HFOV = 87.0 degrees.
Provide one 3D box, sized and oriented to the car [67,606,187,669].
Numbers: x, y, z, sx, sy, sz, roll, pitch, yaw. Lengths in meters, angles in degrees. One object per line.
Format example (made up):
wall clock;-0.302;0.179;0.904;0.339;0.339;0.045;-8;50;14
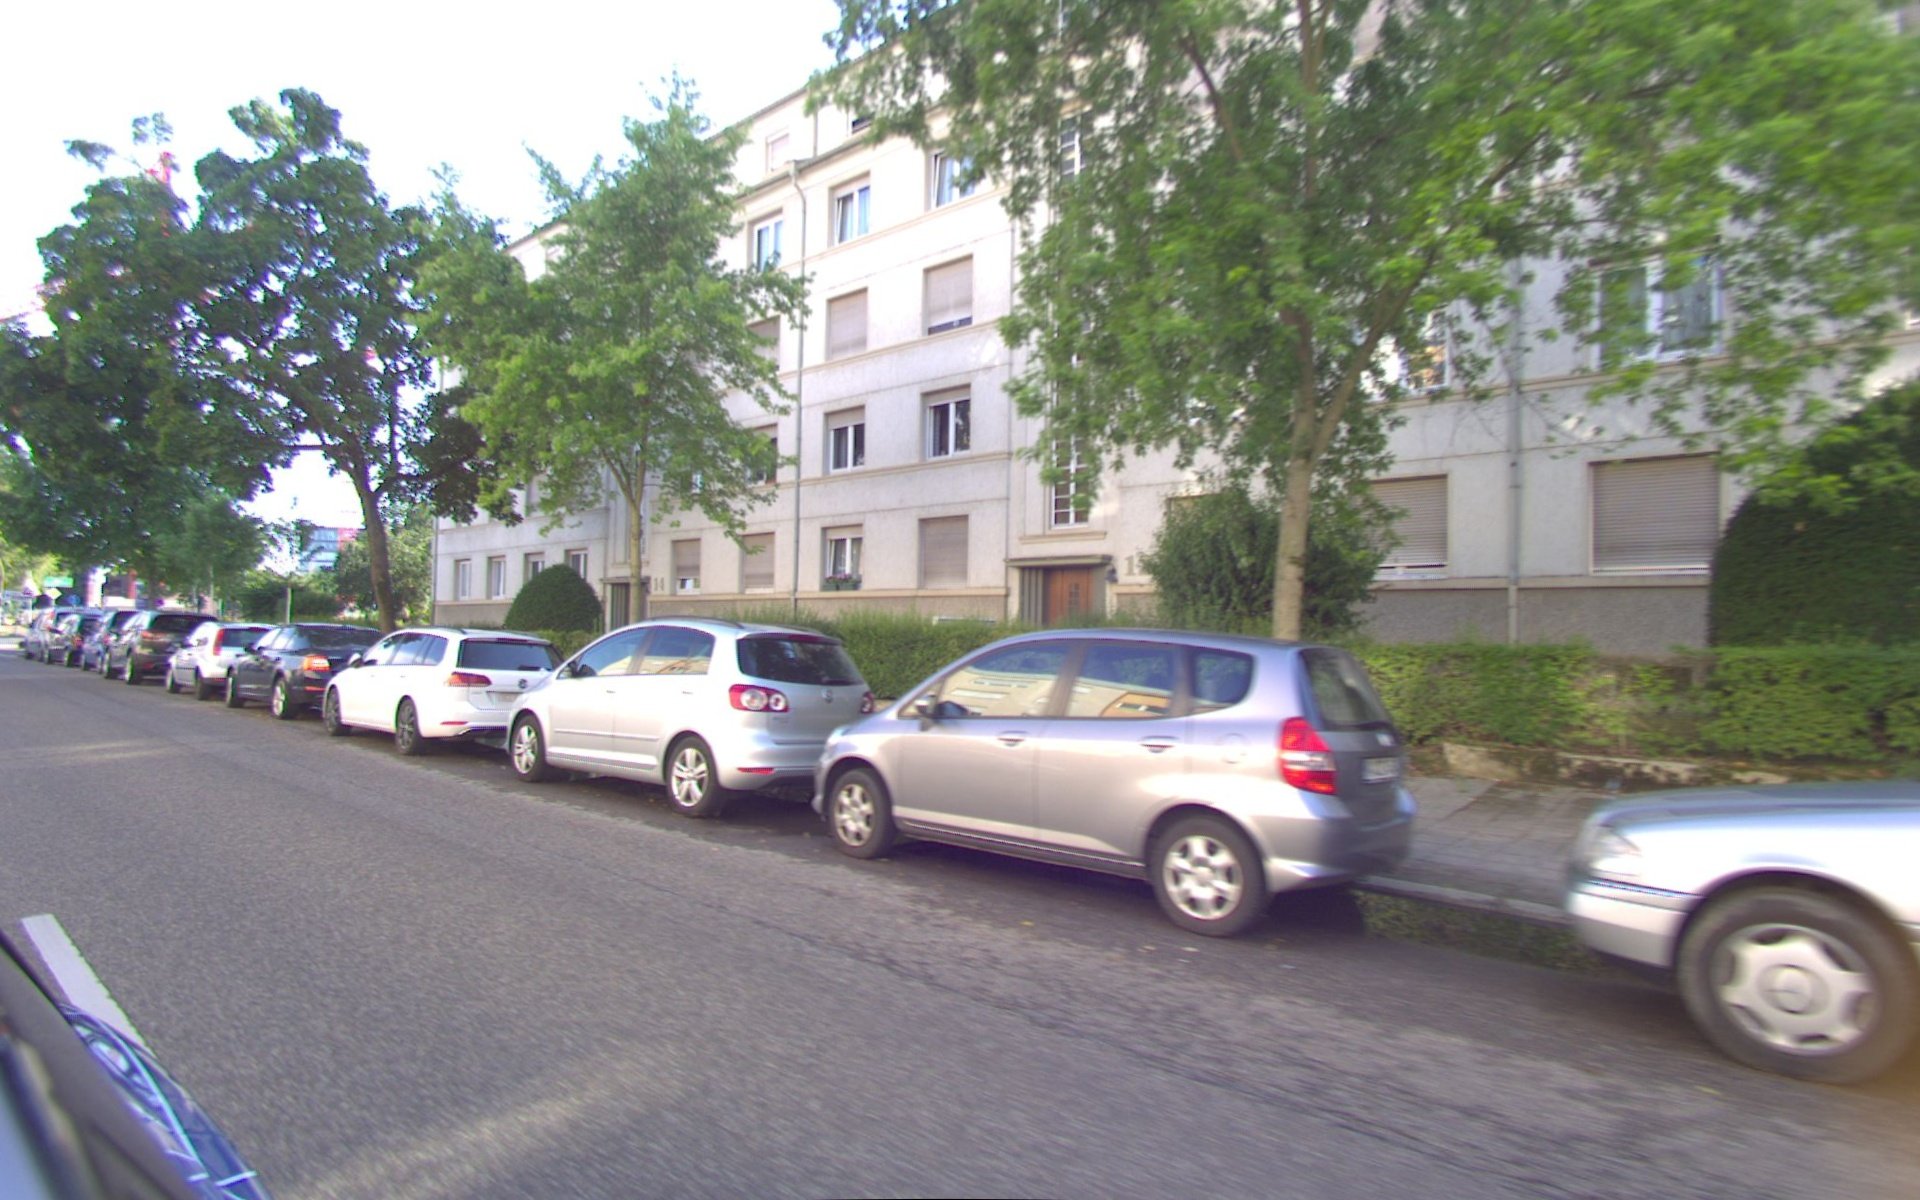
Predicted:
car;-22.858;0.959;27.721;3.997;1.563;1.854;0;0;40

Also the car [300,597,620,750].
car;-6.369;0.752;12.670;4.468;1.563;1.984;0;0;40

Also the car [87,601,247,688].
car;-18.515;1.000;23.555;4.685;1.772;1.855;0;-5;40

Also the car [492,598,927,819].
car;-2.404;0.788;9.241;3.997;1.564;1.854;0;-1;40

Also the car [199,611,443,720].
car;-10.387;1.000;16.294;4.800;1.445;1.854;0;-4;40

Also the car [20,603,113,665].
car;-30.112;1.115;34.049;4.487;1.911;1.821;0;-2;43

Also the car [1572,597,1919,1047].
car;4.593;0.685;2.907;4.650;1.365;1.854;0;0;40

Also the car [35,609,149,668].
car;-26.207;1.141;30.534;3.996;1.564;1.854;0;-5;40

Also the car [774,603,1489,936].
car;0.859;0.718;6.260;3.997;1.365;1.854;0;0;40

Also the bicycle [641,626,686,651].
bicycle;-9.004;1.162;30.743;1.787;0.714;0.404;0;0;41

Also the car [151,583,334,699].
car;-14.126;0.776;19.853;3.999;2.029;1.972;0;-4;42
